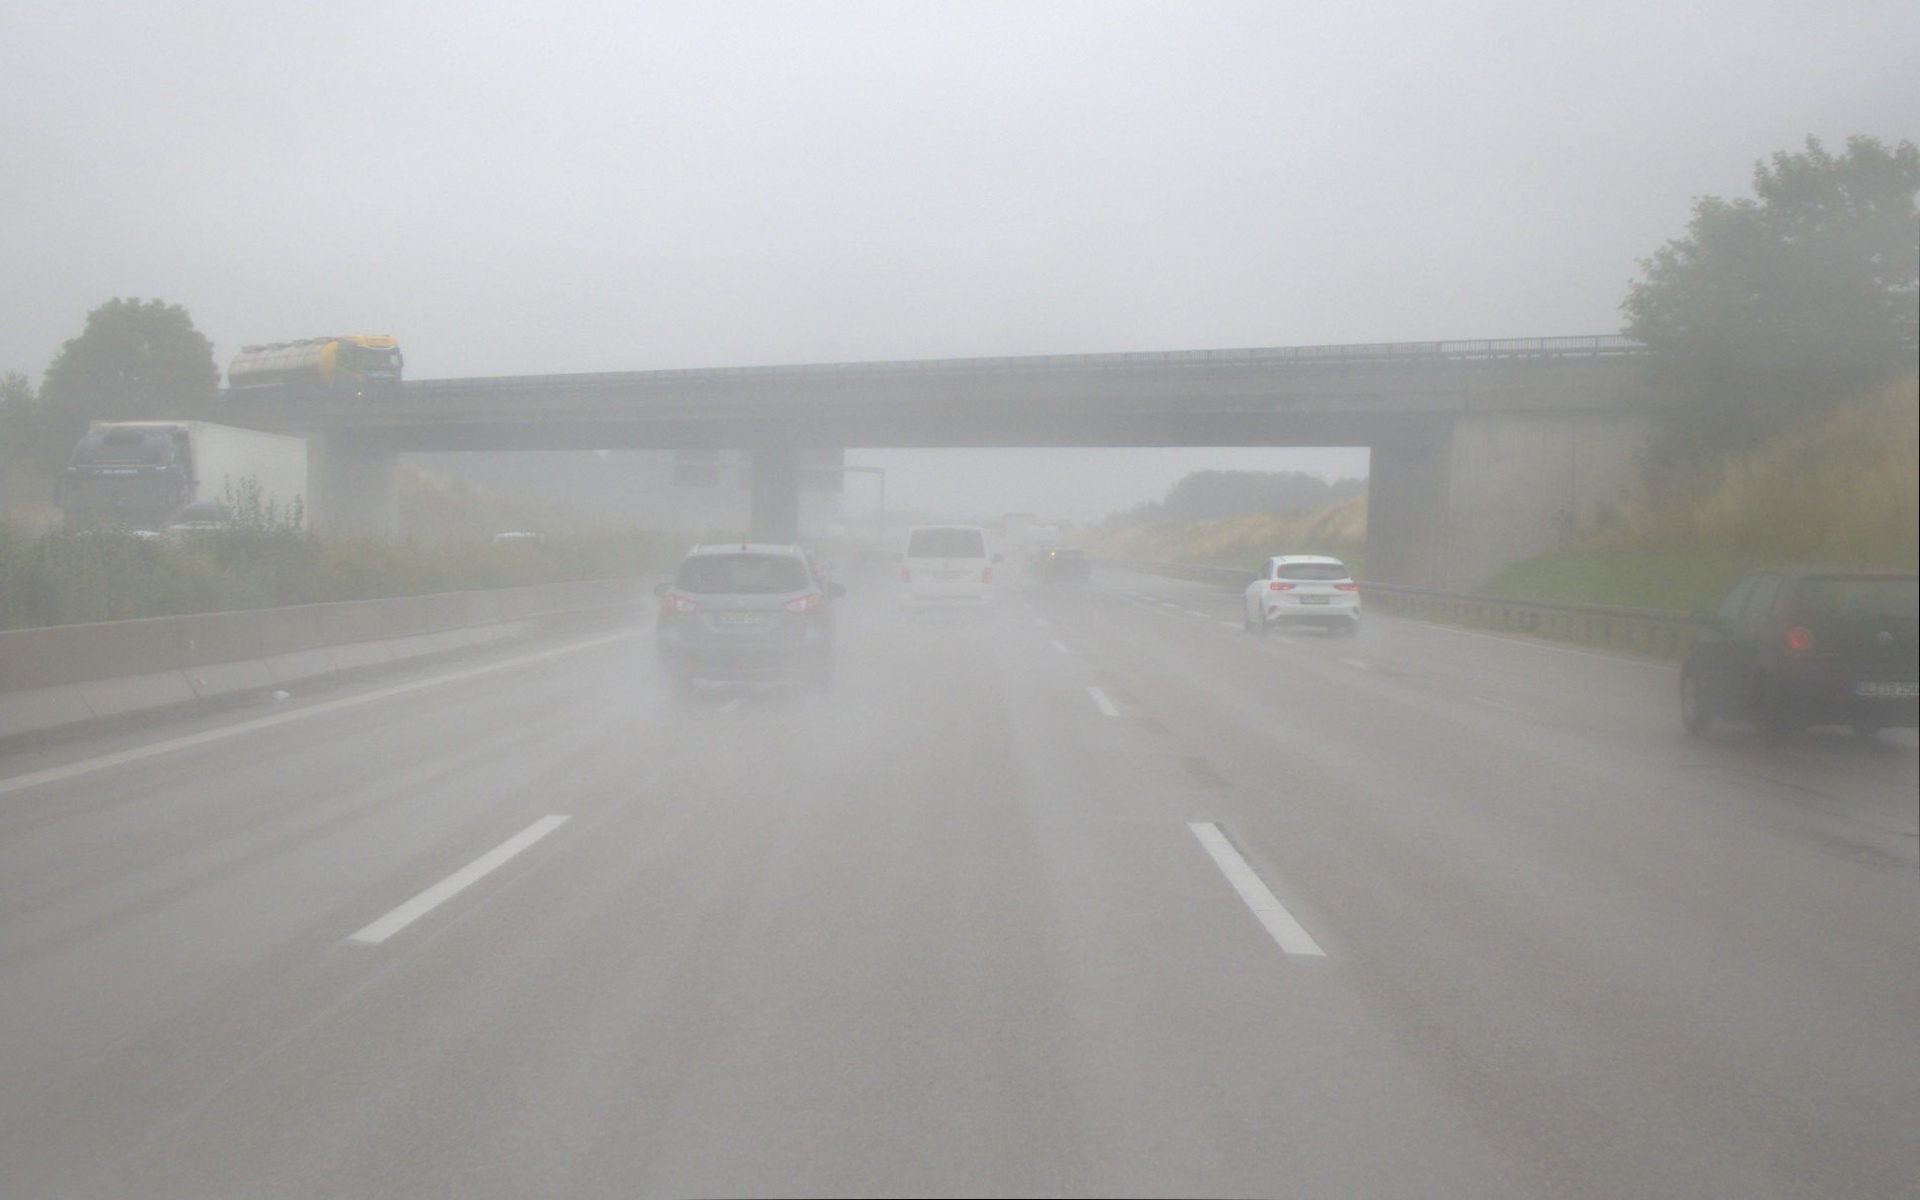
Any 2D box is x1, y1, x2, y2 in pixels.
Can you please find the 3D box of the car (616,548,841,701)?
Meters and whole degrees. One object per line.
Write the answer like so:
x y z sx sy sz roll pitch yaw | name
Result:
-2.395 0.213 36.745 1.846 1.508 4.756 0 1 3 | car

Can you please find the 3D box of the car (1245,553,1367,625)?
6.372 -0.217 63.607 1.994 1.262 4.000 1 0 2 | car

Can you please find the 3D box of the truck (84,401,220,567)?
-18.930 -2.687 80.742 1.993 3.768 4.813 1 1 1 | truck

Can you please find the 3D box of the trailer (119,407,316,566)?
-18.927 -2.823 88.563 1.993 3.752 13.860 0 1 0 | trailer

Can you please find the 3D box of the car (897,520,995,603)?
-0.257 -0.765 69.041 1.897 1.580 4.000 1 0 1 | car

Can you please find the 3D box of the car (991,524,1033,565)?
2.728 -2.940 181.369 1.993 2.094 4.001 1 1 -2 | car

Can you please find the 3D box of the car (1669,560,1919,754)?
7.023 0.415 27.669 1.731 1.416 3.658 1 1 -2 | car
